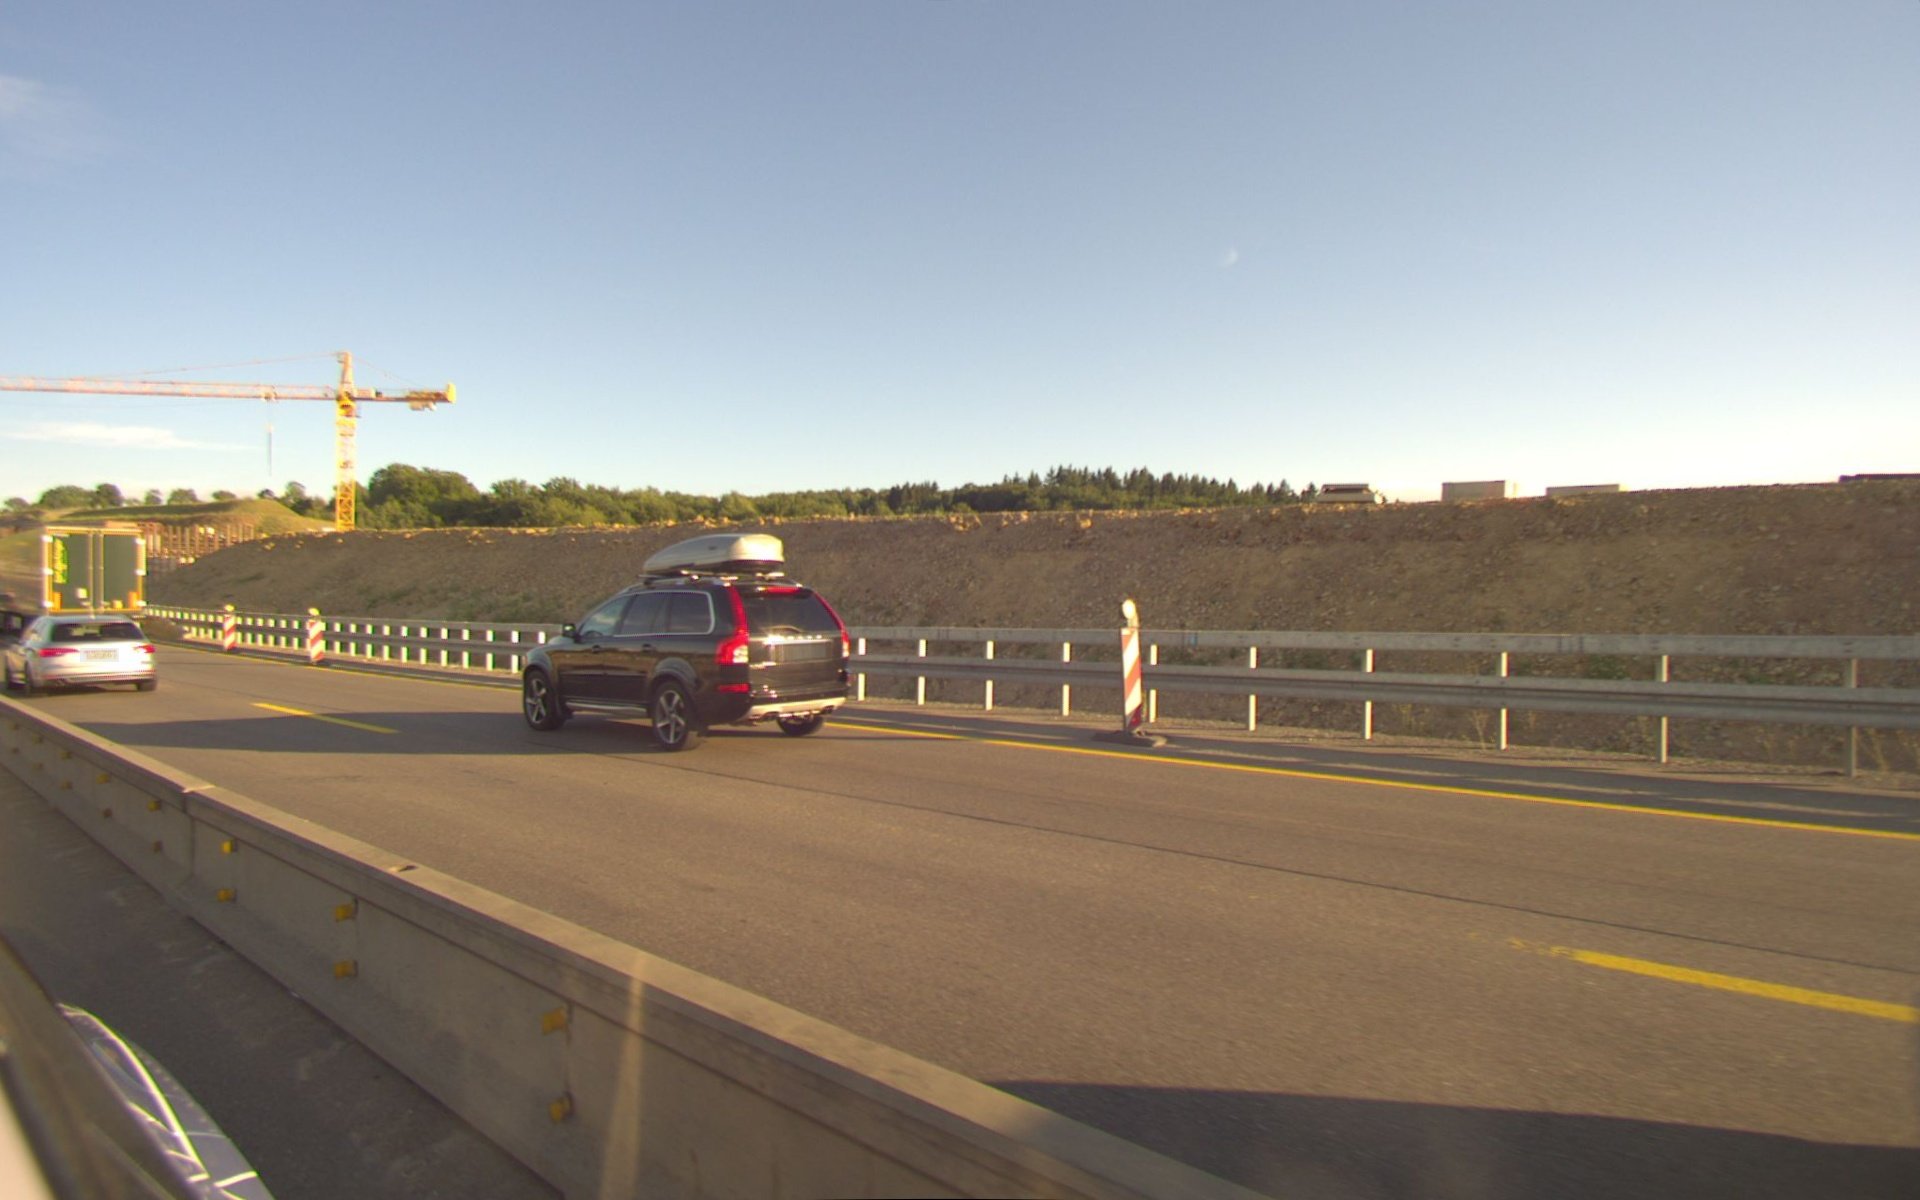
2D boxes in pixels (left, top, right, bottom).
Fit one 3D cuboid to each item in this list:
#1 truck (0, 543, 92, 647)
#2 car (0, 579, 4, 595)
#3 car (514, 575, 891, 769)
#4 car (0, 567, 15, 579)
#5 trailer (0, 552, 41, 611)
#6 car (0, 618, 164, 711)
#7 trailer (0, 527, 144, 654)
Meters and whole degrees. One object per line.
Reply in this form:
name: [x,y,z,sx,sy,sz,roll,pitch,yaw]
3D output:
truck: [-38.949,-0.183,42.774,5.775,4.112,2.740,-1,-1,42]
car: [-95.912,-1.290,100.140,1.768,1.499,4.223,0,1,-44]
car: [-3.050,0.665,11.477,4.438,1.778,1.973,-1,0,41]
car: [-109.224,-3.103,115.477,1.766,1.367,4.643,-1,3,-41]
trailer: [-73.799,-1.538,79.162,2.500,4.245,13.954,-1,2,-41]
car: [-16.321,1.091,18.654,4.153,1.443,1.842,0,0,41]
trailer: [-33.645,-0.244,37.922,13.680,4.062,2.744,-1,-1,42]
